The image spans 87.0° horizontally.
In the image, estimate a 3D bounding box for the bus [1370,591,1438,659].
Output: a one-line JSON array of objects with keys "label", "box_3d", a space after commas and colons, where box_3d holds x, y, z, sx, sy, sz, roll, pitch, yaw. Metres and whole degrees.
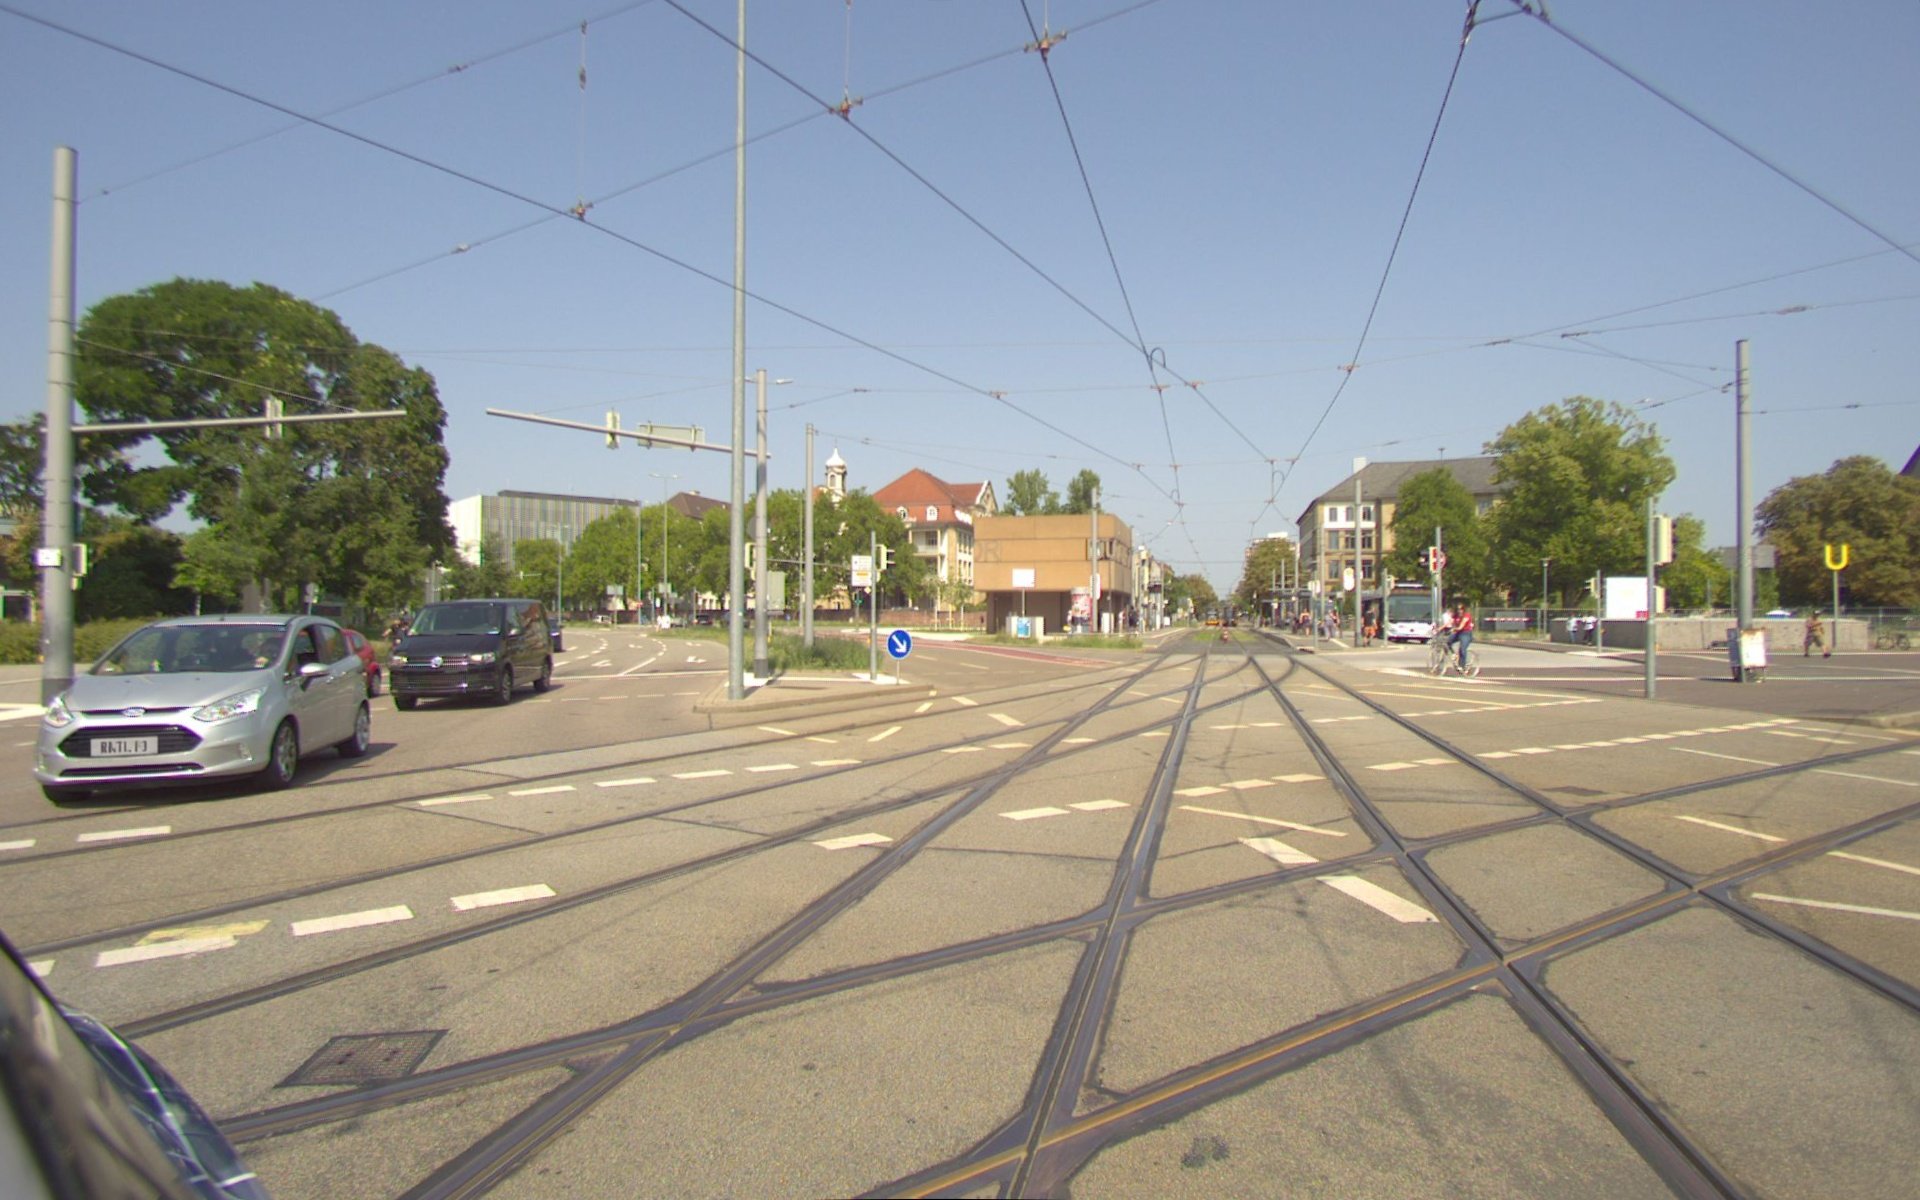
[{"label": "bus", "box_3d": [24.729, 1.348, 56.837, 2.658, 3.356, 12.671, -1, -1, 20]}]

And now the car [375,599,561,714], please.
[{"label": "car", "box_3d": [-9.327, 1.011, 19.672, 1.870, 1.945, 4.894, 0, -1, -9]}]

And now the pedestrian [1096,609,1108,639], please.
[{"label": "pedestrian", "box_3d": [8.235, 1.403, 58.739, 0.573, 1.688, 0.584, -2, 0, 17]}]

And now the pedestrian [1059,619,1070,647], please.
[{"label": "pedestrian", "box_3d": [5.183, 1.640, 50.373, 0.454, 1.385, 0.350, 0, -1, -10]}]

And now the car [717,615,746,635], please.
[{"label": "car", "box_3d": [-19.384, 2.114, 85.657, 1.870, 1.665, 4.671, 0, -1, -19]}]

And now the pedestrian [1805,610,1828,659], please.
[{"label": "pedestrian", "box_3d": [30.166, 1.207, 35.636, 0.574, 1.671, 0.790, -1, 0, 43]}]

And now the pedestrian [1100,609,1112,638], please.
[{"label": "pedestrian", "box_3d": [8.547, 1.394, 59.351, 0.573, 1.688, 0.584, -2, 0, 17]}]

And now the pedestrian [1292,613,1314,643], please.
[{"label": "pedestrian", "box_3d": [20.422, 1.657, 60.272, 0.772, 1.793, 0.962, 2, -2, -23]}]

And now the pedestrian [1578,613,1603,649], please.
[{"label": "pedestrian", "box_3d": [30.274, 1.484, 48.614, 0.776, 1.741, 0.676, 0, -1, 11]}]

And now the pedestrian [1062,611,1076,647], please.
[{"label": "pedestrian", "box_3d": [5.508, 1.449, 50.984, 0.551, 1.830, 0.562, 0, -1, -10]}]

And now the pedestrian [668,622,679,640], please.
[{"label": "pedestrian", "box_3d": [-29.637, 3.206, 104.715, 0.900, 1.865, 0.764, -1, -2, 41]}]

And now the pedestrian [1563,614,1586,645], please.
[{"label": "pedestrian", "box_3d": [31.181, 1.494, 51.337, 0.776, 1.560, 0.676, 1, -1, 11]}]

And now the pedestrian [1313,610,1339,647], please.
[{"label": "pedestrian", "box_3d": [18.370, 1.427, 50.800, 0.942, 1.793, 0.788, 2, -2, -26]}]

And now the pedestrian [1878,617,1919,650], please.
[{"label": "pedestrian", "box_3d": [43.429, 1.518, 46.738, 0.607, 1.497, 1.695, 0, -1, 6]}]

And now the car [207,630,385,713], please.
[{"label": "car", "box_3d": [-12.713, 1.310, 19.611, 1.494, 1.419, 3.363, -1, -1, -6]}]

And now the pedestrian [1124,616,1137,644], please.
[{"label": "pedestrian", "box_3d": [10.226, 1.799, 60.635, 0.561, 1.658, 0.513, -2, 0, -26]}]

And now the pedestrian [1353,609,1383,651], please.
[{"label": "pedestrian", "box_3d": [17.876, 1.322, 44.352, 0.942, 1.793, 0.788, 2, -2, -26]}]

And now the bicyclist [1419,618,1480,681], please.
[{"label": "bicyclist", "box_3d": [11.720, 1.165, 24.239, 0.963, 1.470, 0.880, 0, -1, -25]}]

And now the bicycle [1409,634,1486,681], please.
[{"label": "bicycle", "box_3d": [11.661, 1.360, 24.200, 1.880, 1.077, 0.617, 0, -1, -25]}]

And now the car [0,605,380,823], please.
[{"label": "car", "box_3d": [-7.024, 0.875, 9.805, 1.664, 1.607, 4.375, 0, -1, -19]}]

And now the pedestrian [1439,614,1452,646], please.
[{"label": "pedestrian", "box_3d": [24.146, 1.489, 50.368, 0.574, 1.540, 0.595, 0, -2, 24]}]

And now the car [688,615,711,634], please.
[{"label": "car", "box_3d": [-21.722, 2.011, 84.471, 1.651, 1.532, 3.717, 0, -1, -18]}]
